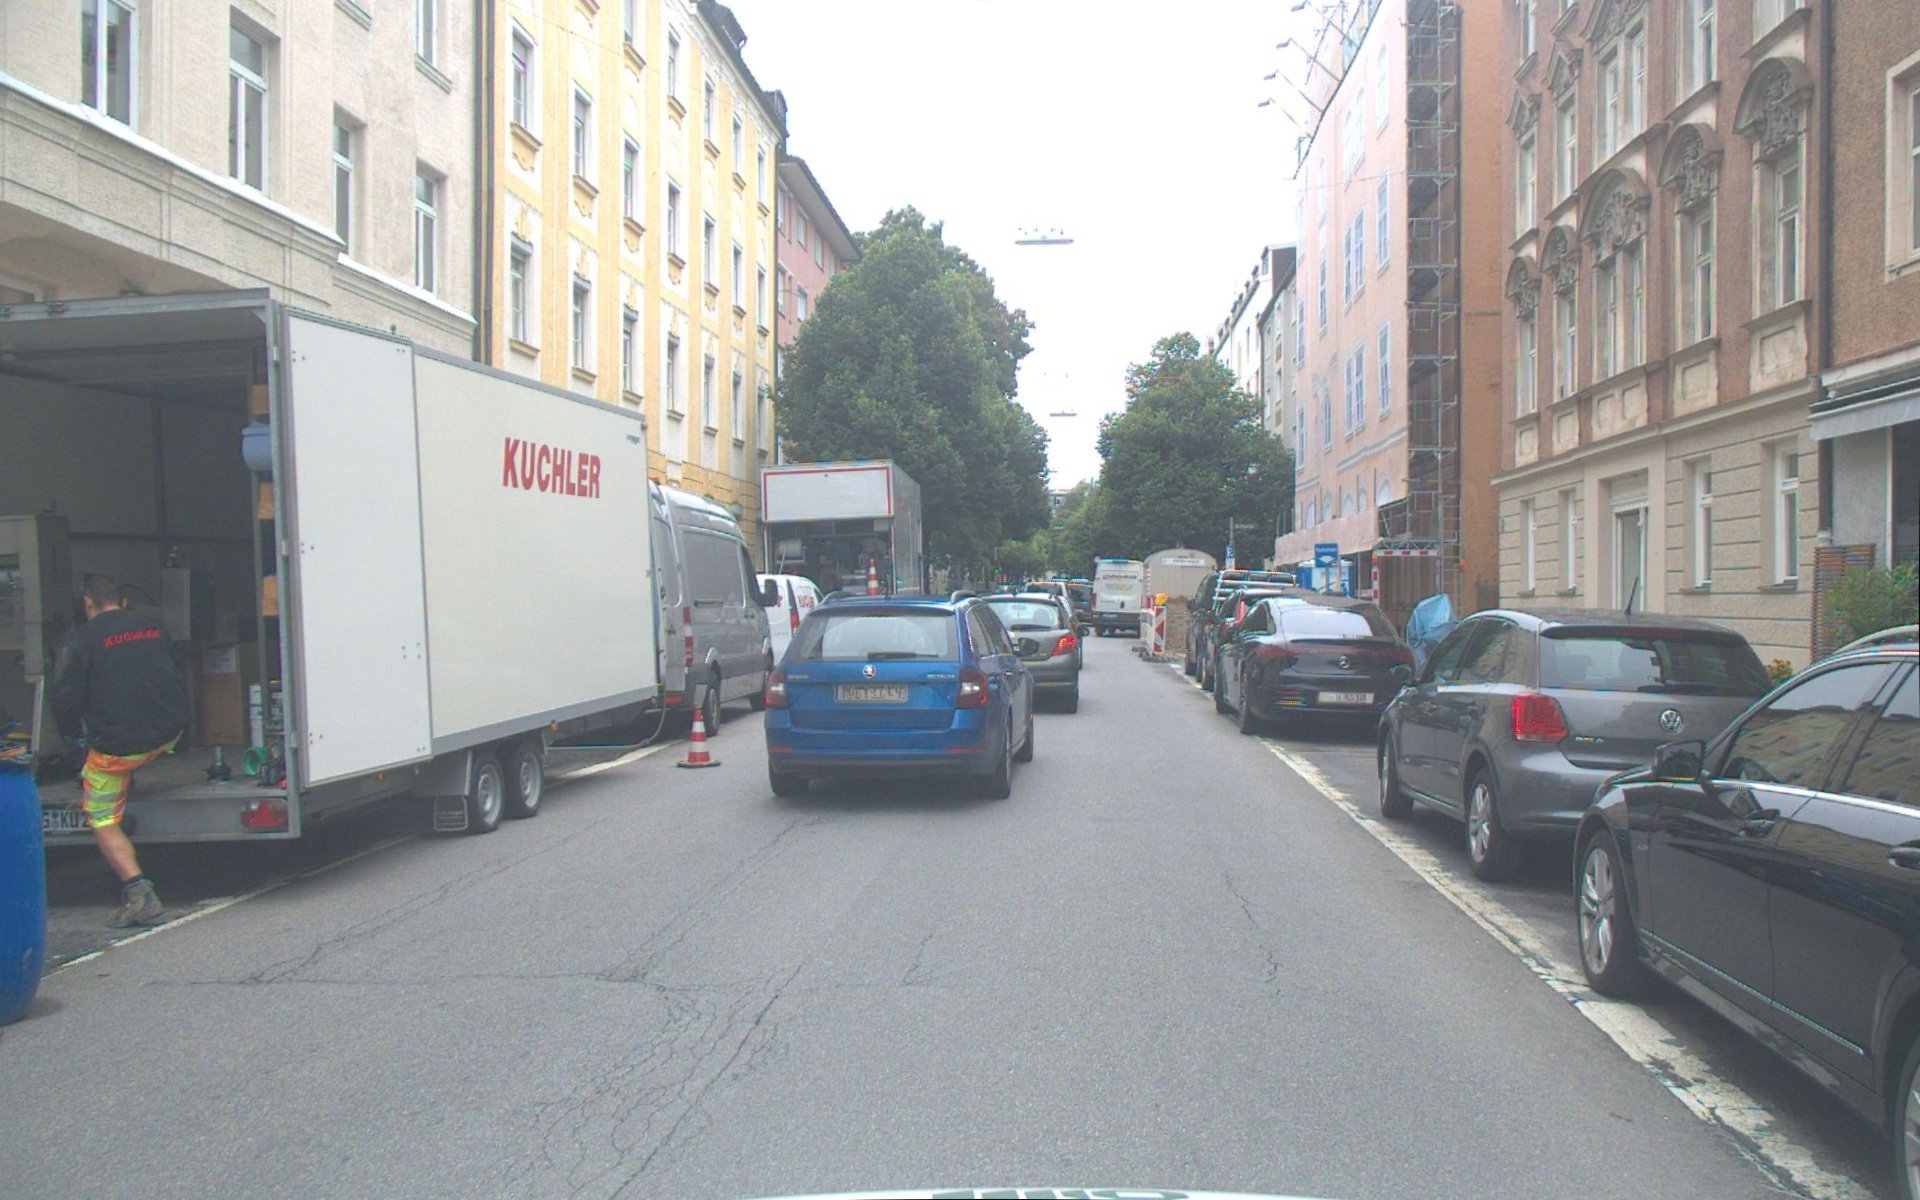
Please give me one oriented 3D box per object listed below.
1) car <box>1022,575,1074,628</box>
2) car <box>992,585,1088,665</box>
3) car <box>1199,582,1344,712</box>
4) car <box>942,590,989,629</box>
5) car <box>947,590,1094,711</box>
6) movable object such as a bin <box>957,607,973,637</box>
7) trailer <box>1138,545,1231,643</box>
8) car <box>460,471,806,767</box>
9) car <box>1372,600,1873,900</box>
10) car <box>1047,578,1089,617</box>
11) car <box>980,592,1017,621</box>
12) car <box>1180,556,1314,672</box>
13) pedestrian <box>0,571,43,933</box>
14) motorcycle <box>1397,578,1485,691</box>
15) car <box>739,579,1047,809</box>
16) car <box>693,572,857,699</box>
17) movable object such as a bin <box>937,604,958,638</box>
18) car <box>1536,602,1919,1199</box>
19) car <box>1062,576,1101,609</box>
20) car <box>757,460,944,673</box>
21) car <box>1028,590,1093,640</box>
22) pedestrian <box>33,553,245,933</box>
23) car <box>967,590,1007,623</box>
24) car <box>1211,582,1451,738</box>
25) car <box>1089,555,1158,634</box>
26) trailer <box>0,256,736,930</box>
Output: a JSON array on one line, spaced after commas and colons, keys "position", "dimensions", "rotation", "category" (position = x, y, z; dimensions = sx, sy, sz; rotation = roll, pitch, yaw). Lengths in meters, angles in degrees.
[{"position": [3.397, 0.025, 63.222], "dimensions": [1.828, 1.902, 4.350], "rotation": [1, 1, 4], "category": "car"}, {"position": [1.662, 0.458, 34.087], "dimensions": [1.828, 1.479, 4.349], "rotation": [1, 1, 3], "category": "car"}, {"position": [4.624, 0.655, 25.064], "dimensions": [1.658, 1.706, 4.410], "rotation": [3, 0, 5], "category": "car"}, {"position": [0.255, 0.356, 67.423], "dimensions": [1.774, 1.504, 4.001], "rotation": [1, 0, 2], "category": "car"}, {"position": [0.875, 0.615, 21.825], "dimensions": [1.704, 1.446, 3.666], "rotation": [0, 0, 6], "category": "car"}, {"position": [0.182, 0.764, 58.730], "dimensions": [0.535, 1.038, 0.636], "rotation": [-2, 0, 1], "category": "movable object such as a bin"}, {"position": [7.126, -0.167, 53.210], "dimensions": [2.449, 2.889, 6.904], "rotation": [1, 0, 4], "category": "trailer"}, {"position": [-3.397, 0.164, 18.965], "dimensions": [2.013, 2.632, 6.880], "rotation": [-4, 0, 4], "category": "car"}, {"position": [3.668, 0.725, 9.965], "dimensions": [1.539, 1.419, 4.184], "rotation": [-1, 0, 3], "category": "car"}, {"position": [4.894, -0.139, 74.682], "dimensions": [1.828, 1.681, 4.350], "rotation": [1, 1, 4], "category": "car"}, {"position": [2.127, 0.341, 90.134], "dimensions": [1.774, 1.504, 4.002], "rotation": [1, 0, 4], "category": "car"}, {"position": [5.295, 0.344, 31.103], "dimensions": [2.038, 1.955, 5.143], "rotation": [1, -2, 5], "category": "car"}, {"position": [-4.689, 0.680, 7.519], "dimensions": [0.748, 1.608, 0.635], "rotation": [-1, 0, -13], "category": "pedestrian"}, {"position": [6.774, 0.465, 23.369], "dimensions": [0.853, 1.531, 1.998], "rotation": [0, 0, 6], "category": "motorcycle"}, {"position": [-0.334, 0.612, 12.912], "dimensions": [1.751, 1.486, 4.317], "rotation": [0, 0, 6], "category": "car"}, {"position": [-2.845, 0.522, 26.370], "dimensions": [1.726, 1.810, 4.329], "rotation": [-2, 0, 5], "category": "car"}, {"position": [-0.426, 0.744, 58.708], "dimensions": [0.697, 1.168, 0.636], "rotation": [-2, 0, 1], "category": "movable object such as a bin"}, {"position": [3.234, 0.732, 4.763], "dimensions": [1.808, 1.429, 4.790], "rotation": [0, 0, 4], "category": "car"}, {"position": [6.364, -0.406, 87.081], "dimensions": [1.966, 1.681, 4.349], "rotation": [1, 1, 4], "category": "car"}, {"position": [-2.061, -0.612, 34.688], "dimensions": [2.753, 3.884, 8.727], "rotation": [0, 0, 4], "category": "car"}, {"position": [3.046, 0.417, 49.704], "dimensions": [1.828, 1.371, 4.350], "rotation": [1, 1, 4], "category": "car"}, {"position": [-3.768, 0.624, 7.645], "dimensions": [0.749, 1.659, 0.634], "rotation": [-1, 0, -15], "category": "pedestrian"}, {"position": [1.316, 0.286, 78.114], "dimensions": [1.774, 1.504, 4.001], "rotation": [1, 0, 2], "category": "car"}, {"position": [4.214, 0.596, 19.739], "dimensions": [1.890, 1.580, 5.639], "rotation": [1, 0, 3], "category": "car"}, {"position": [6.023, -0.163, 60.399], "dimensions": [2.067, 2.710, 5.504], "rotation": [1, 0, 10], "category": "car"}, {"position": [-3.910, -0.044, 11.478], "dimensions": [2.744, 3.020, 7.605], "rotation": [-3, 1, 6], "category": "trailer"}]
